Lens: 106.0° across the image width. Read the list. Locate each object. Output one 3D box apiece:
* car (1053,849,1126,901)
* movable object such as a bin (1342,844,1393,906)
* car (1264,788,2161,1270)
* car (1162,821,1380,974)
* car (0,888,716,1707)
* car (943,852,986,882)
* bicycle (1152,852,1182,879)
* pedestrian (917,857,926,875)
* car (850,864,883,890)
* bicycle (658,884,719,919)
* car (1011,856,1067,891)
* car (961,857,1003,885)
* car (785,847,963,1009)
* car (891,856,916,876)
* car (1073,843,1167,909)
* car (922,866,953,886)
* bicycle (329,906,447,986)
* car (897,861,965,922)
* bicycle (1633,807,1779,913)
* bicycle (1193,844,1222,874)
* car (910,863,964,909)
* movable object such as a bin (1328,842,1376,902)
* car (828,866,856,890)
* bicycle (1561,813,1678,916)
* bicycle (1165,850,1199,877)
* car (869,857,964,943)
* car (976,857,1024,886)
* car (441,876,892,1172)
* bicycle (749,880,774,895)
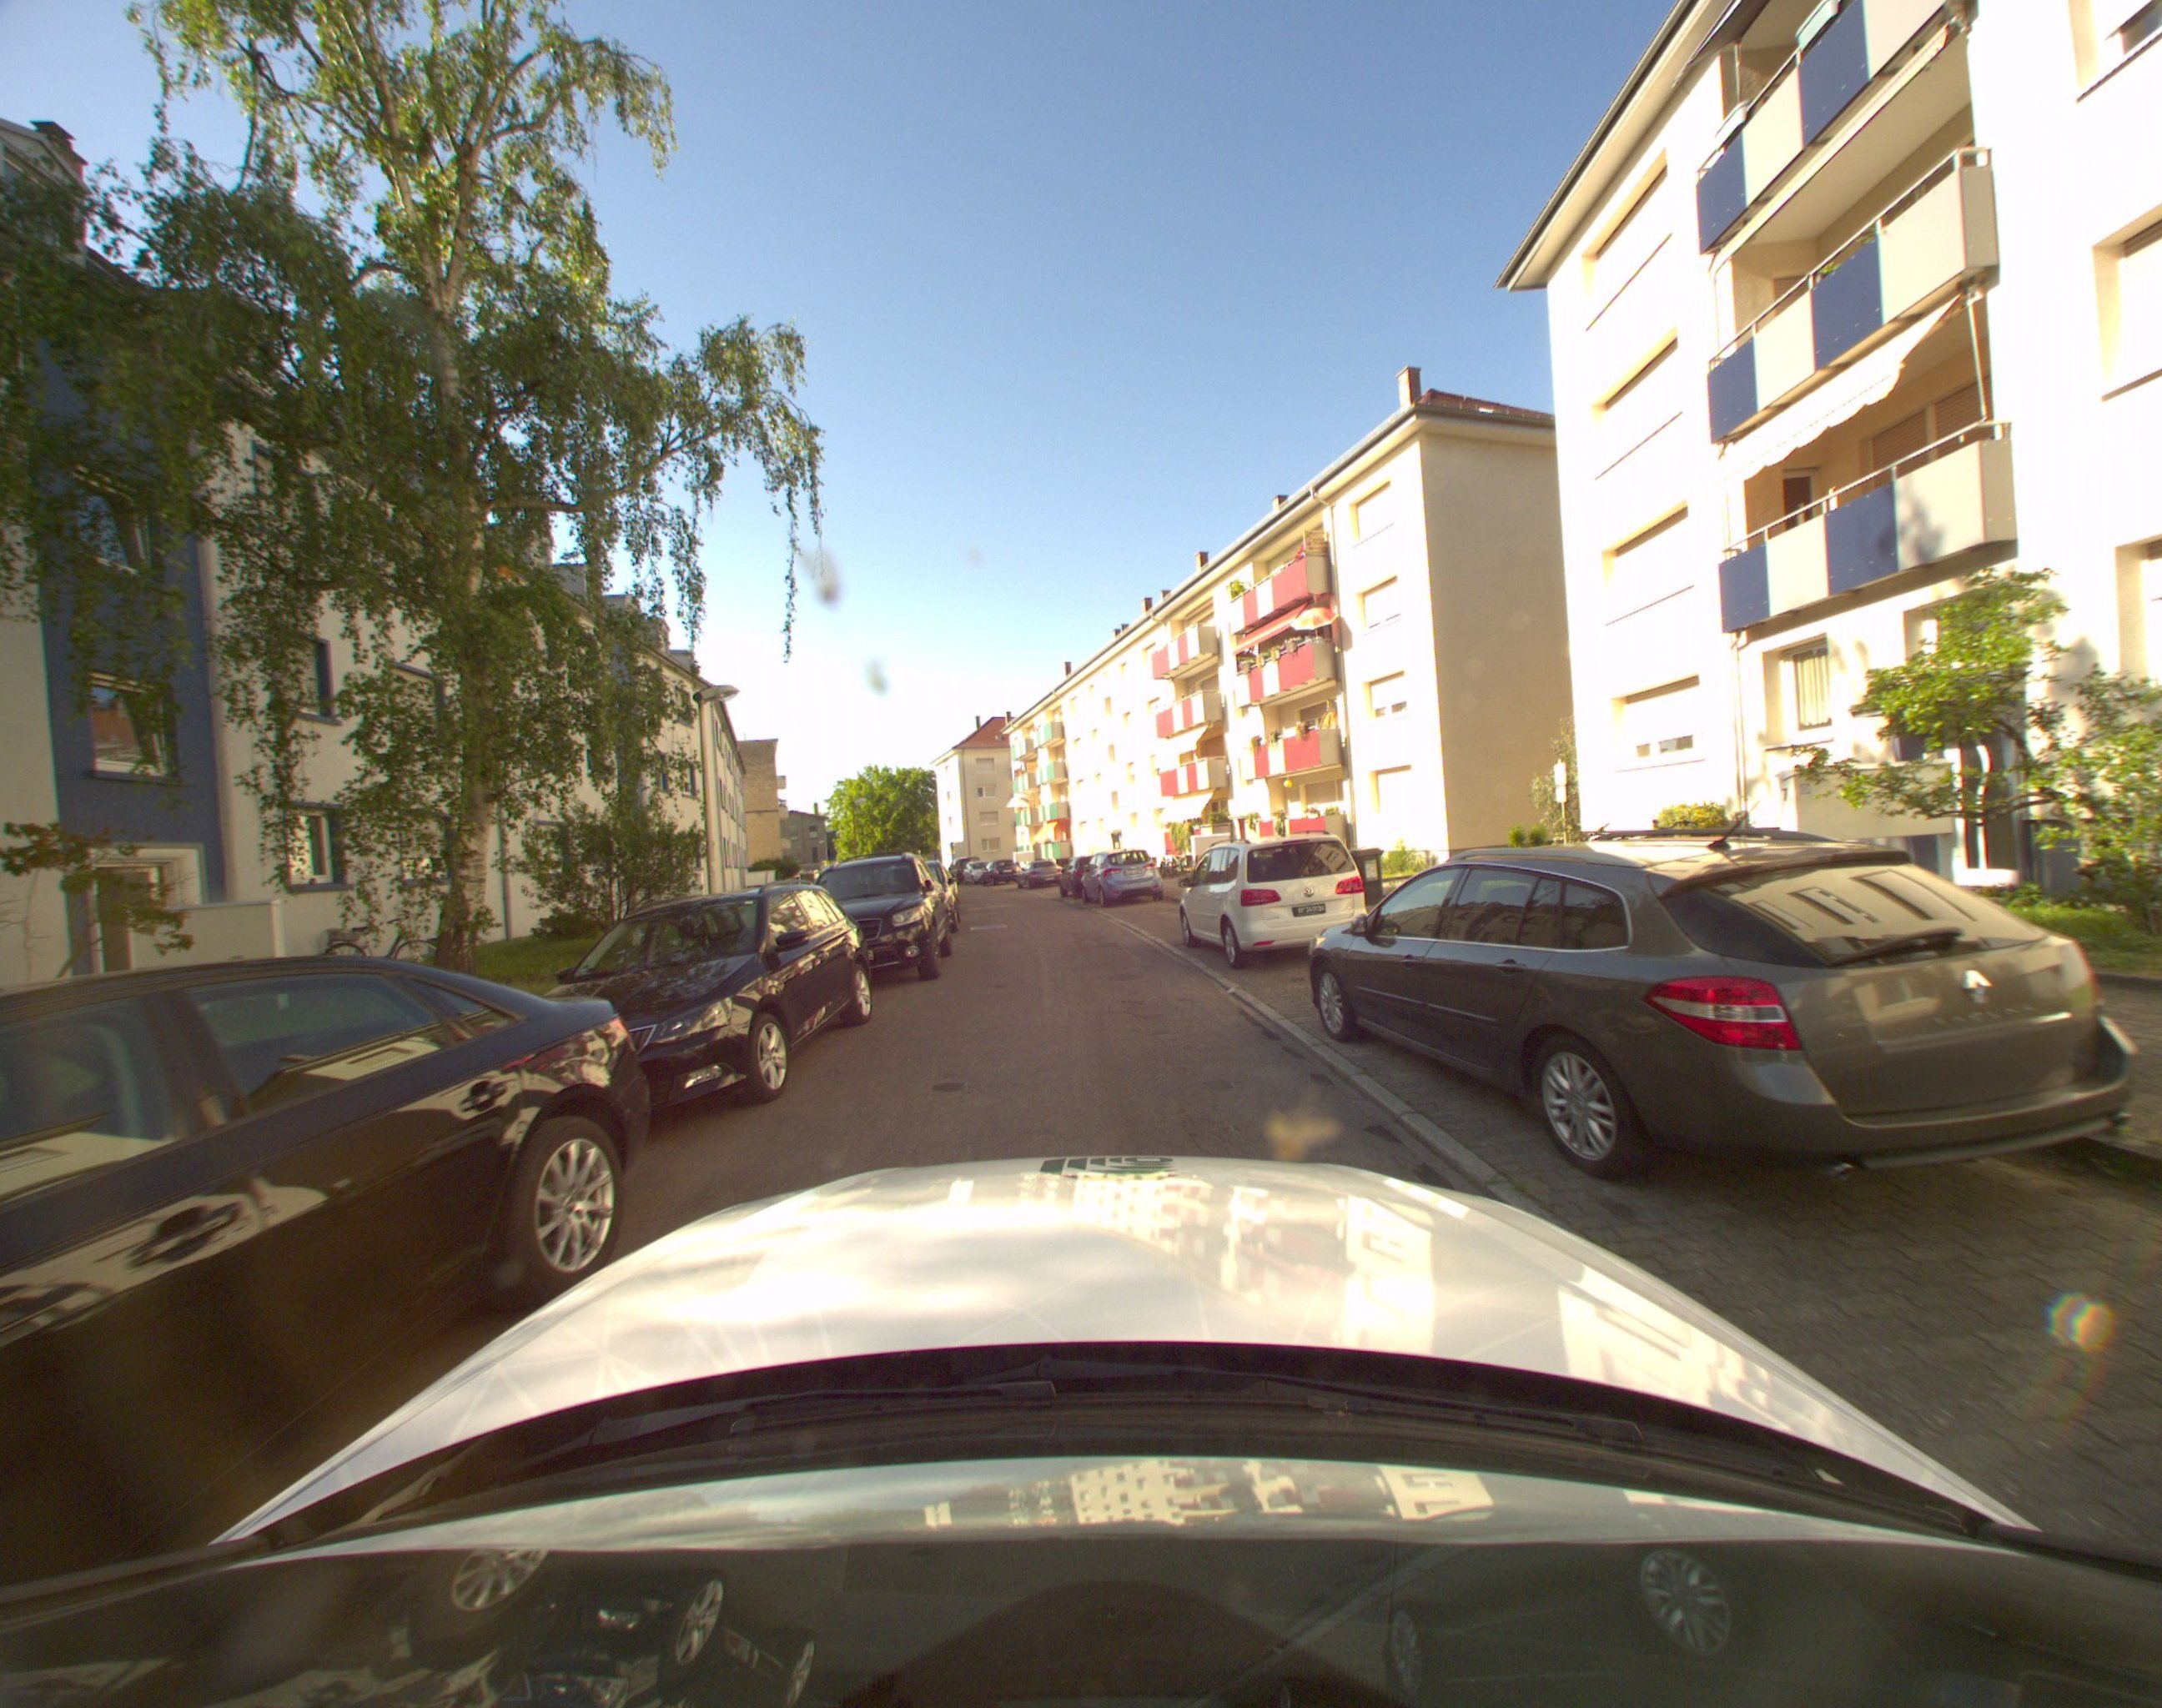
[{"bbox_3d":[0.227,0.721,29.562,1.737,1.508,3.870,-8,1,-11],"label":"car"},{"bbox_3d":[5.309,0.388,15.118,0.582,1.056,0.640,-8,-1,-1],"label":"movable object such as a bin"},{"bbox_3d":[2.816,0.583,5.144,1.692,1.431,4.677,-7,1,-6],"label":"car"},{"bbox_3d":[2.512,0.541,11.978,1.691,1.655,4.382,-6,0,-5],"label":"car"},{"bbox_3d":[-2.674,1.011,1.795,1.673,1.442,4.278,-8,0,-1],"label":"car"},{"bbox_3d":[-8.340,0.940,57.908,1.905,1.855,4.310,-6,0,-23],"label":"car"},{"bbox_3d":[3.508,0.465,33.408,0.498,1.019,1.832,-7,1,-14],"label":"bicycle"},{"bbox_3d":[-16.923,1.233,86.350,0.655,1.815,0.611,-7,1,-12],"label":"pedestrian"},{"bbox_3d":[-17.143,1.864,65.055,1.904,1.855,4.164,-6,0,-22],"label":"car"},{"bbox_3d":[-13.685,1.645,28.420,1.816,1.078,0.568,-2,0,-3],"label":"bicycle"},{"bbox_3d":[-2.098,0.929,39.800,1.689,1.363,4.216,-8,1,-16],"label":"car"},{"bbox_3d":[-6.510,1.094,53.177,1.688,1.587,3.984,-6,1,-21],"label":"car"},{"bbox_3d":[-2.763,0.875,11.841,1.553,1.714,4.331,-8,0,-4],"label":"car"},{"bbox_3d":[-18.052,1.240,82.731,1.773,1.739,4.064,-7,1,-21],"label":"car"},{"bbox_3d":[1.085,0.597,24.611,1.767,1.635,4.025,-7,2,-11],"label":"car"},{"bbox_3d":[-11.956,1.797,67.739,1.724,1.363,4.026,-7,3,-21],"label":"car"},{"bbox_3d":[-11.732,1.545,13.811,1.409,1.152,0.414,-6,0,-10],"label":"bicycle"},{"bbox_3d":[-4.575,1.056,24.704,1.695,1.444,4.004,-7,1,-11],"label":"car"},{"bbox_3d":[8.024,0.050,10.569,0.512,1.202,1.836,-7,1,6],"label":"bicycle"},{"bbox_3d":[5.235,0.226,33.709,0.408,1.150,1.753,-7,1,-15],"label":"bicycle"},{"bbox_3d":[-5.381,1.126,30.181,1.695,1.389,4.140,-6,1,-11],"label":"car"},{"bbox_3d":[5.282,0.336,15.890,0.582,1.095,0.682,-7,1,-1],"label":"movable object such as a bin"},{"bbox_3d":[-23.202,2.337,79.000,2.002,2.013,4.421,-7,1,-22],"label":"car"},{"bbox_3d":[7.093,0.102,10.824,0.511,1.202,1.766,-7,1,9],"label":"bicycle"},{"bbox_3d":[4.147,0.378,33.515,0.618,0.978,1.887,-8,3,-14],"label":"bicycle"},{"bbox_3d":[-3.661,0.941,18.715,1.693,1.560,4.145,-6,1,-8],"label":"car"},{"bbox_3d":[-4.899,1.062,48.742,1.744,1.431,4.327,-7,1,-19],"label":"car"},{"bbox_3d":[-2.866,1.035,6.715,1.551,1.442,3.966,-8,-1,-1],"label":"car"},{"bbox_3d":[-24.031,2.527,61.328,1.653,0.936,0.544,-7,1,-20],"label":"bicycle"}]
